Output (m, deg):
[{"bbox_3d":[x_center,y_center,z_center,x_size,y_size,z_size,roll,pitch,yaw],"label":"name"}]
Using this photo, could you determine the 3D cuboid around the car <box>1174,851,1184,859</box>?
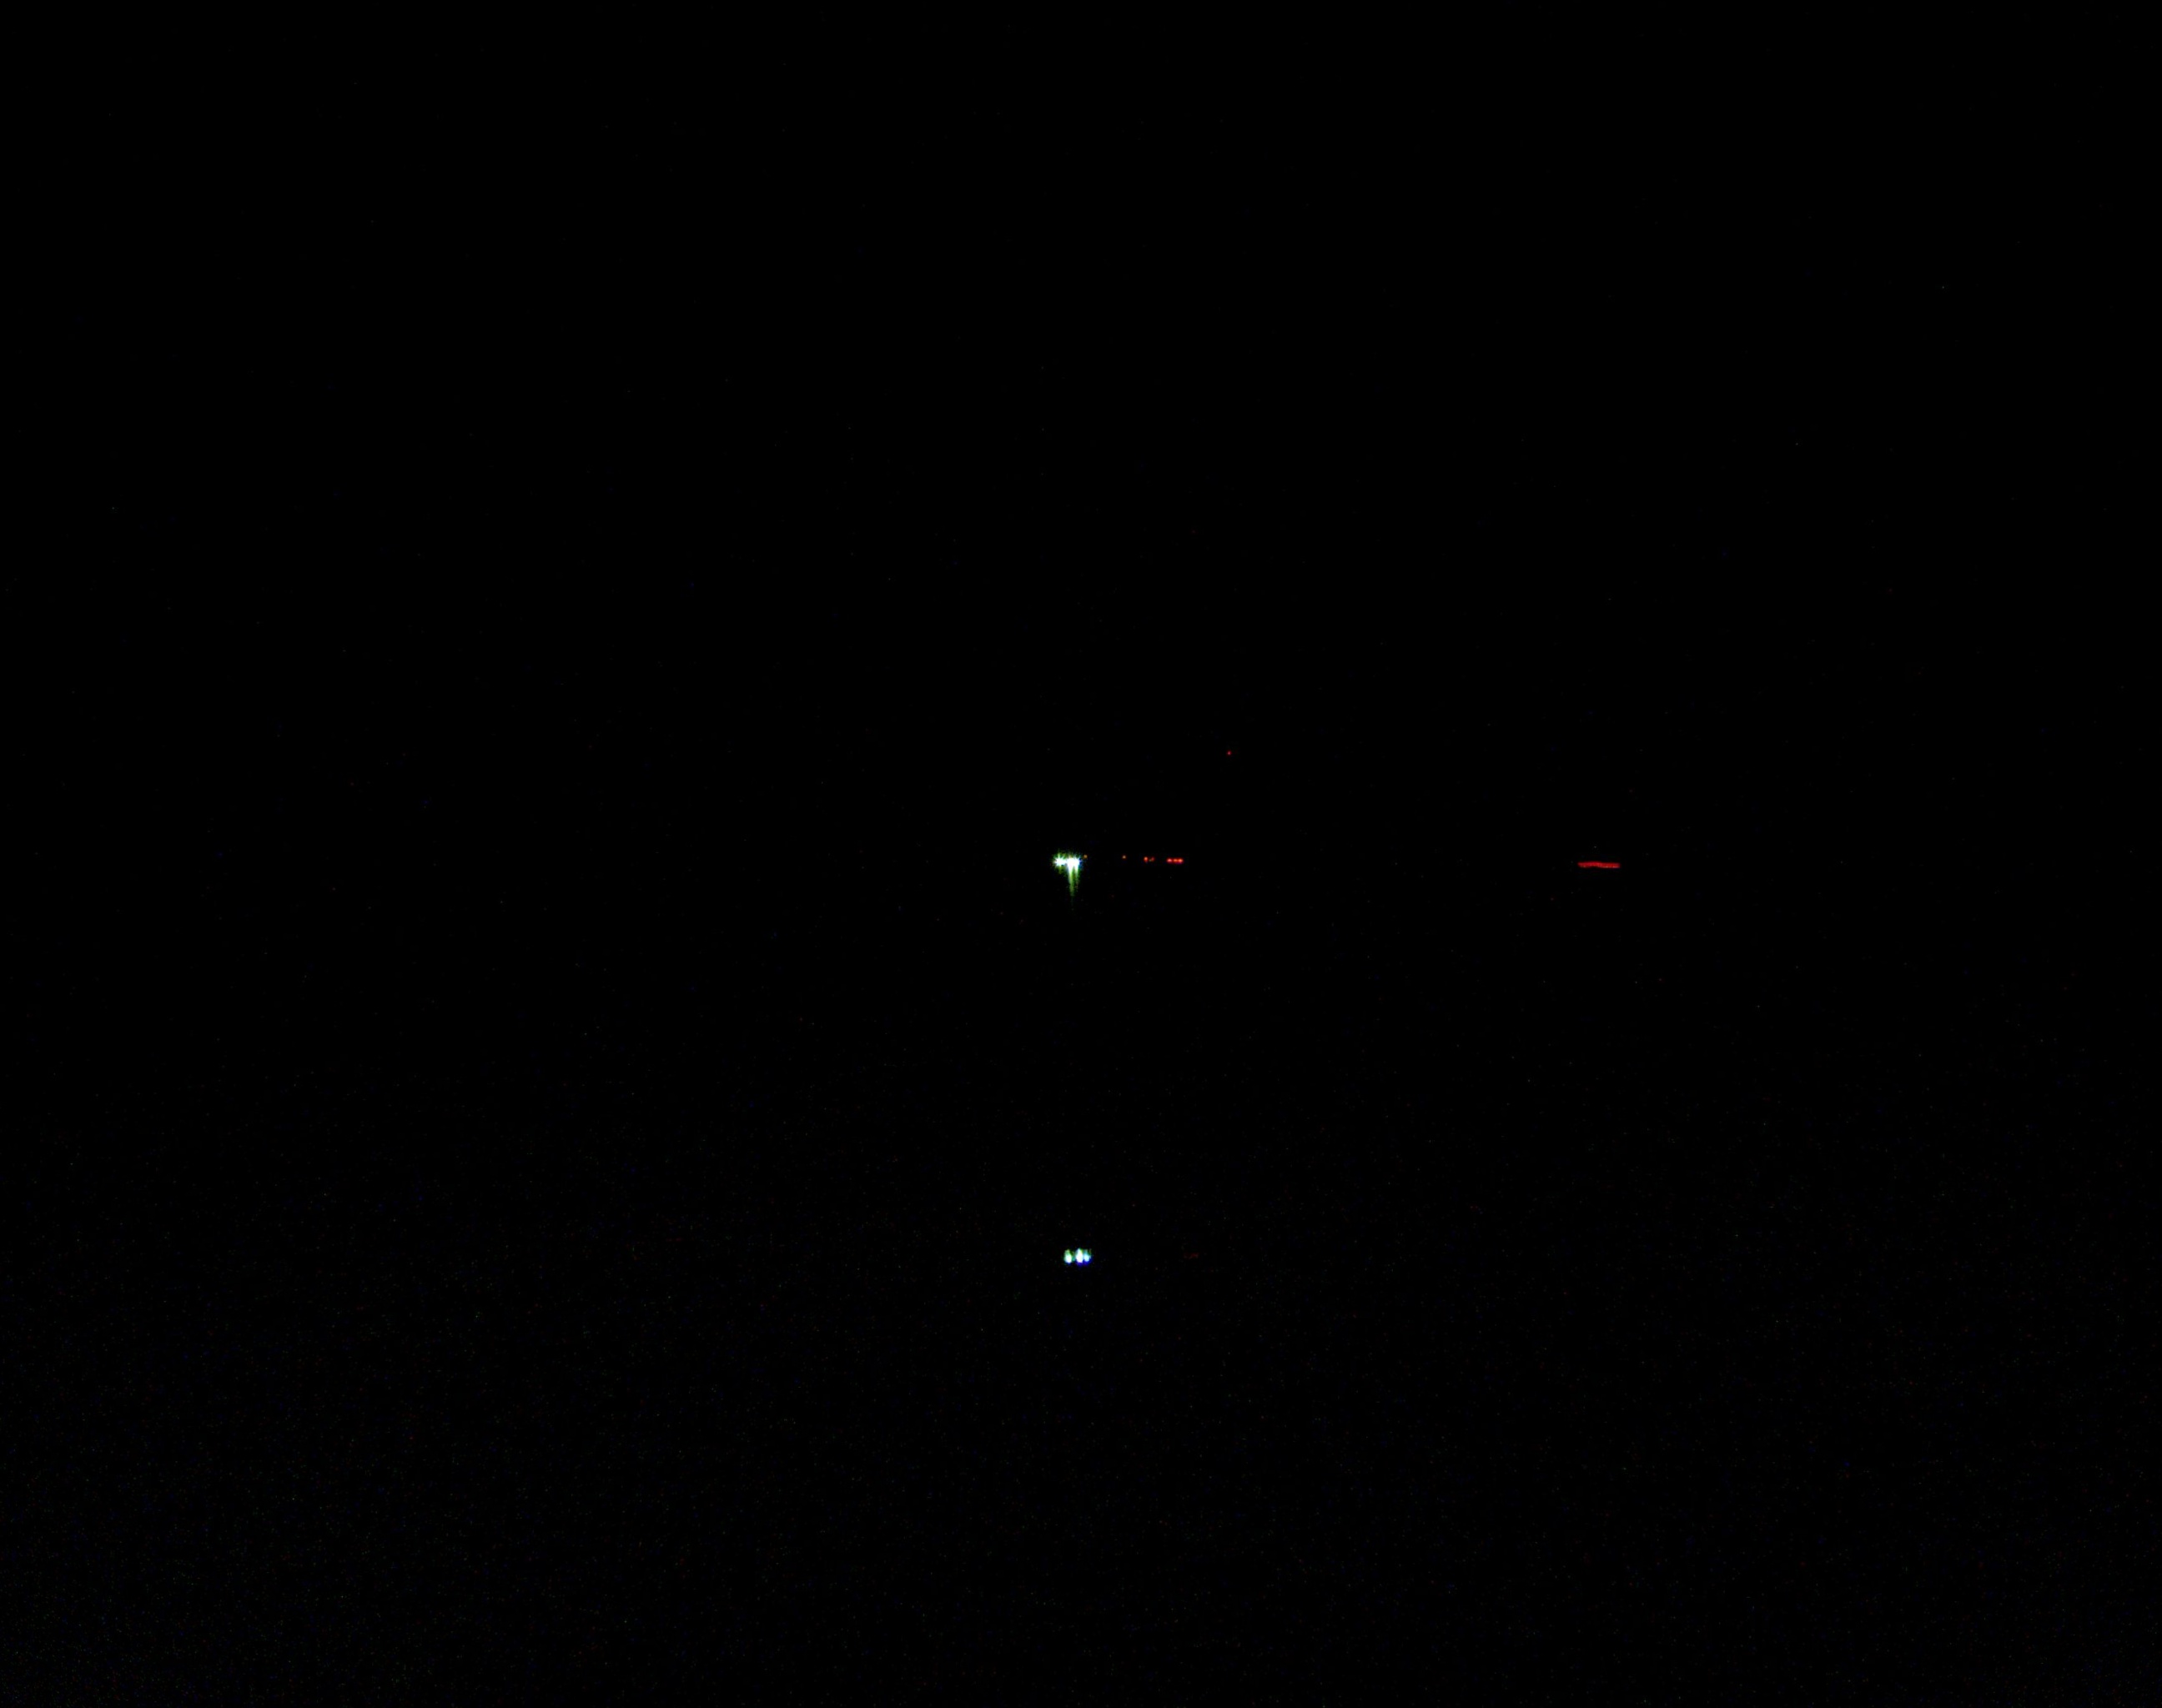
[{"bbox_3d":[22.430,0.235,174.514,1.859,1.608,4.000,-2,1,1],"label":"car"}]

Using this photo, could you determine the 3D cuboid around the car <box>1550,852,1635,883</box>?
[{"bbox_3d":[27.312,0.686,40.722,1.796,1.471,3.999,-2,1,0],"label":"car"}]

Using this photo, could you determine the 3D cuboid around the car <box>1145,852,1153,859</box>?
[{"bbox_3d":[17.718,0.329,197.536,1.859,1.608,4.000,-2,1,1],"label":"car"}]

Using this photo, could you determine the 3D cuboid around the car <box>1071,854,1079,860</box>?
[{"bbox_3d":[-1.459,0.750,195.232,1.859,1.608,4.000,-1,0,1],"label":"car"}]

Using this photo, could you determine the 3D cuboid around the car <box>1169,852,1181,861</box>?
[{"bbox_3d":[19.202,0.503,155.670,1.859,1.608,4.000,-2,1,1],"label":"car"}]
